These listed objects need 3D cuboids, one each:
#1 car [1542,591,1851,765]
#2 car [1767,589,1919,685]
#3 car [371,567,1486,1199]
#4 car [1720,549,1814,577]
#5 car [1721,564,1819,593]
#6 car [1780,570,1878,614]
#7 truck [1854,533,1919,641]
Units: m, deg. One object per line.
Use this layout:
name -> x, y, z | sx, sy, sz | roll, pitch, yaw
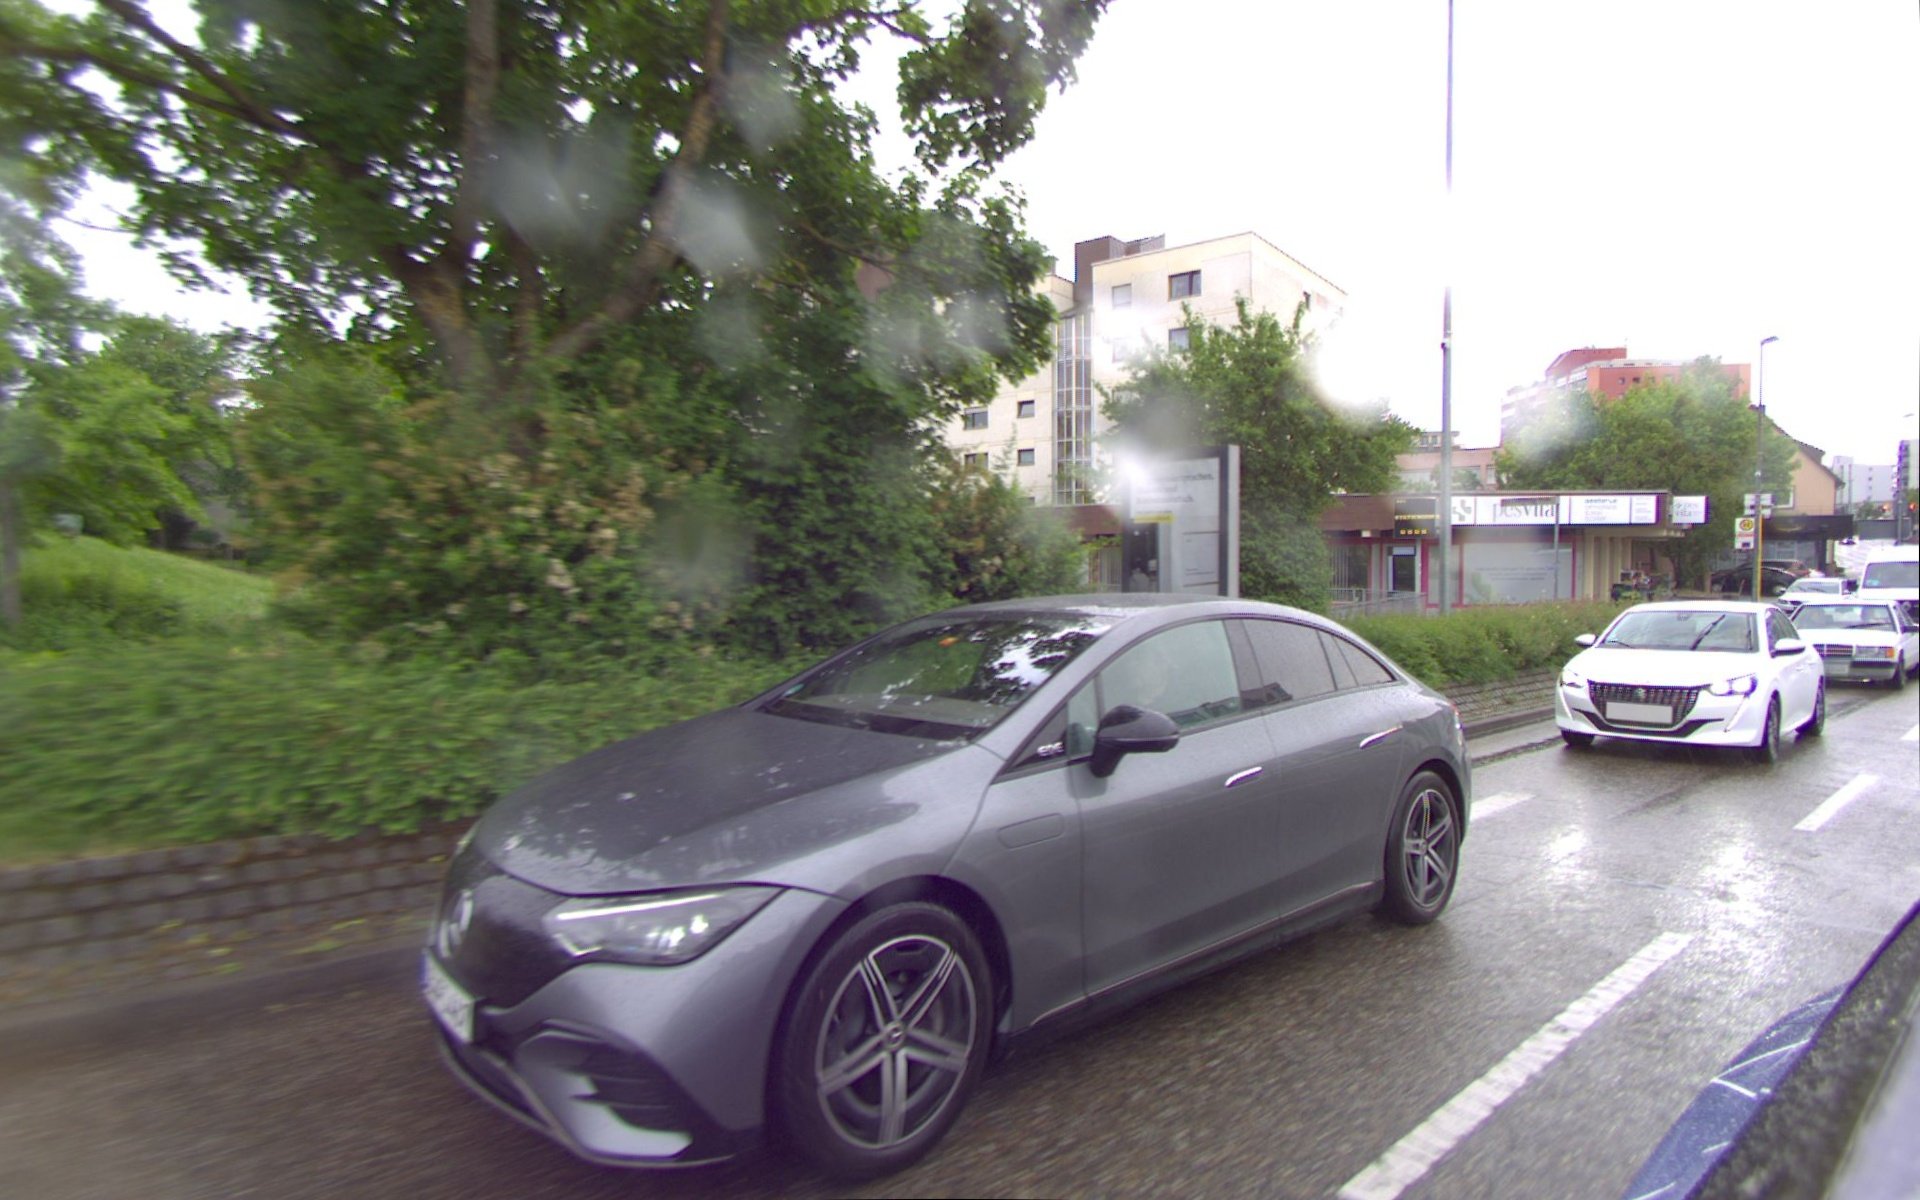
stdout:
car -> 7.667, 0.642, 10.399 | 3.965, 1.415, 1.716 | -1, 0, -41
car -> 14.848, 0.526, 16.734 | 3.670, 1.394, 1.716 | -1, 0, -41
car -> 0.290, 0.644, 4.188 | 4.471, 1.462, 1.834 | -1, 0, -41
car -> 44.273, -1.999, 55.574 | 3.981, 1.438, 1.678 | 0, 1, 40
car -> 42.809, -1.133, 53.560 | 3.981, 1.438, 1.971 | 0, 1, 40
car -> 30.225, -0.299, 35.164 | 3.737, 1.367, 1.998 | -1, 4, -41
truck -> 24.148, -0.335, 25.095 | 6.092, 2.470, 2.167 | -1, 1, -41
